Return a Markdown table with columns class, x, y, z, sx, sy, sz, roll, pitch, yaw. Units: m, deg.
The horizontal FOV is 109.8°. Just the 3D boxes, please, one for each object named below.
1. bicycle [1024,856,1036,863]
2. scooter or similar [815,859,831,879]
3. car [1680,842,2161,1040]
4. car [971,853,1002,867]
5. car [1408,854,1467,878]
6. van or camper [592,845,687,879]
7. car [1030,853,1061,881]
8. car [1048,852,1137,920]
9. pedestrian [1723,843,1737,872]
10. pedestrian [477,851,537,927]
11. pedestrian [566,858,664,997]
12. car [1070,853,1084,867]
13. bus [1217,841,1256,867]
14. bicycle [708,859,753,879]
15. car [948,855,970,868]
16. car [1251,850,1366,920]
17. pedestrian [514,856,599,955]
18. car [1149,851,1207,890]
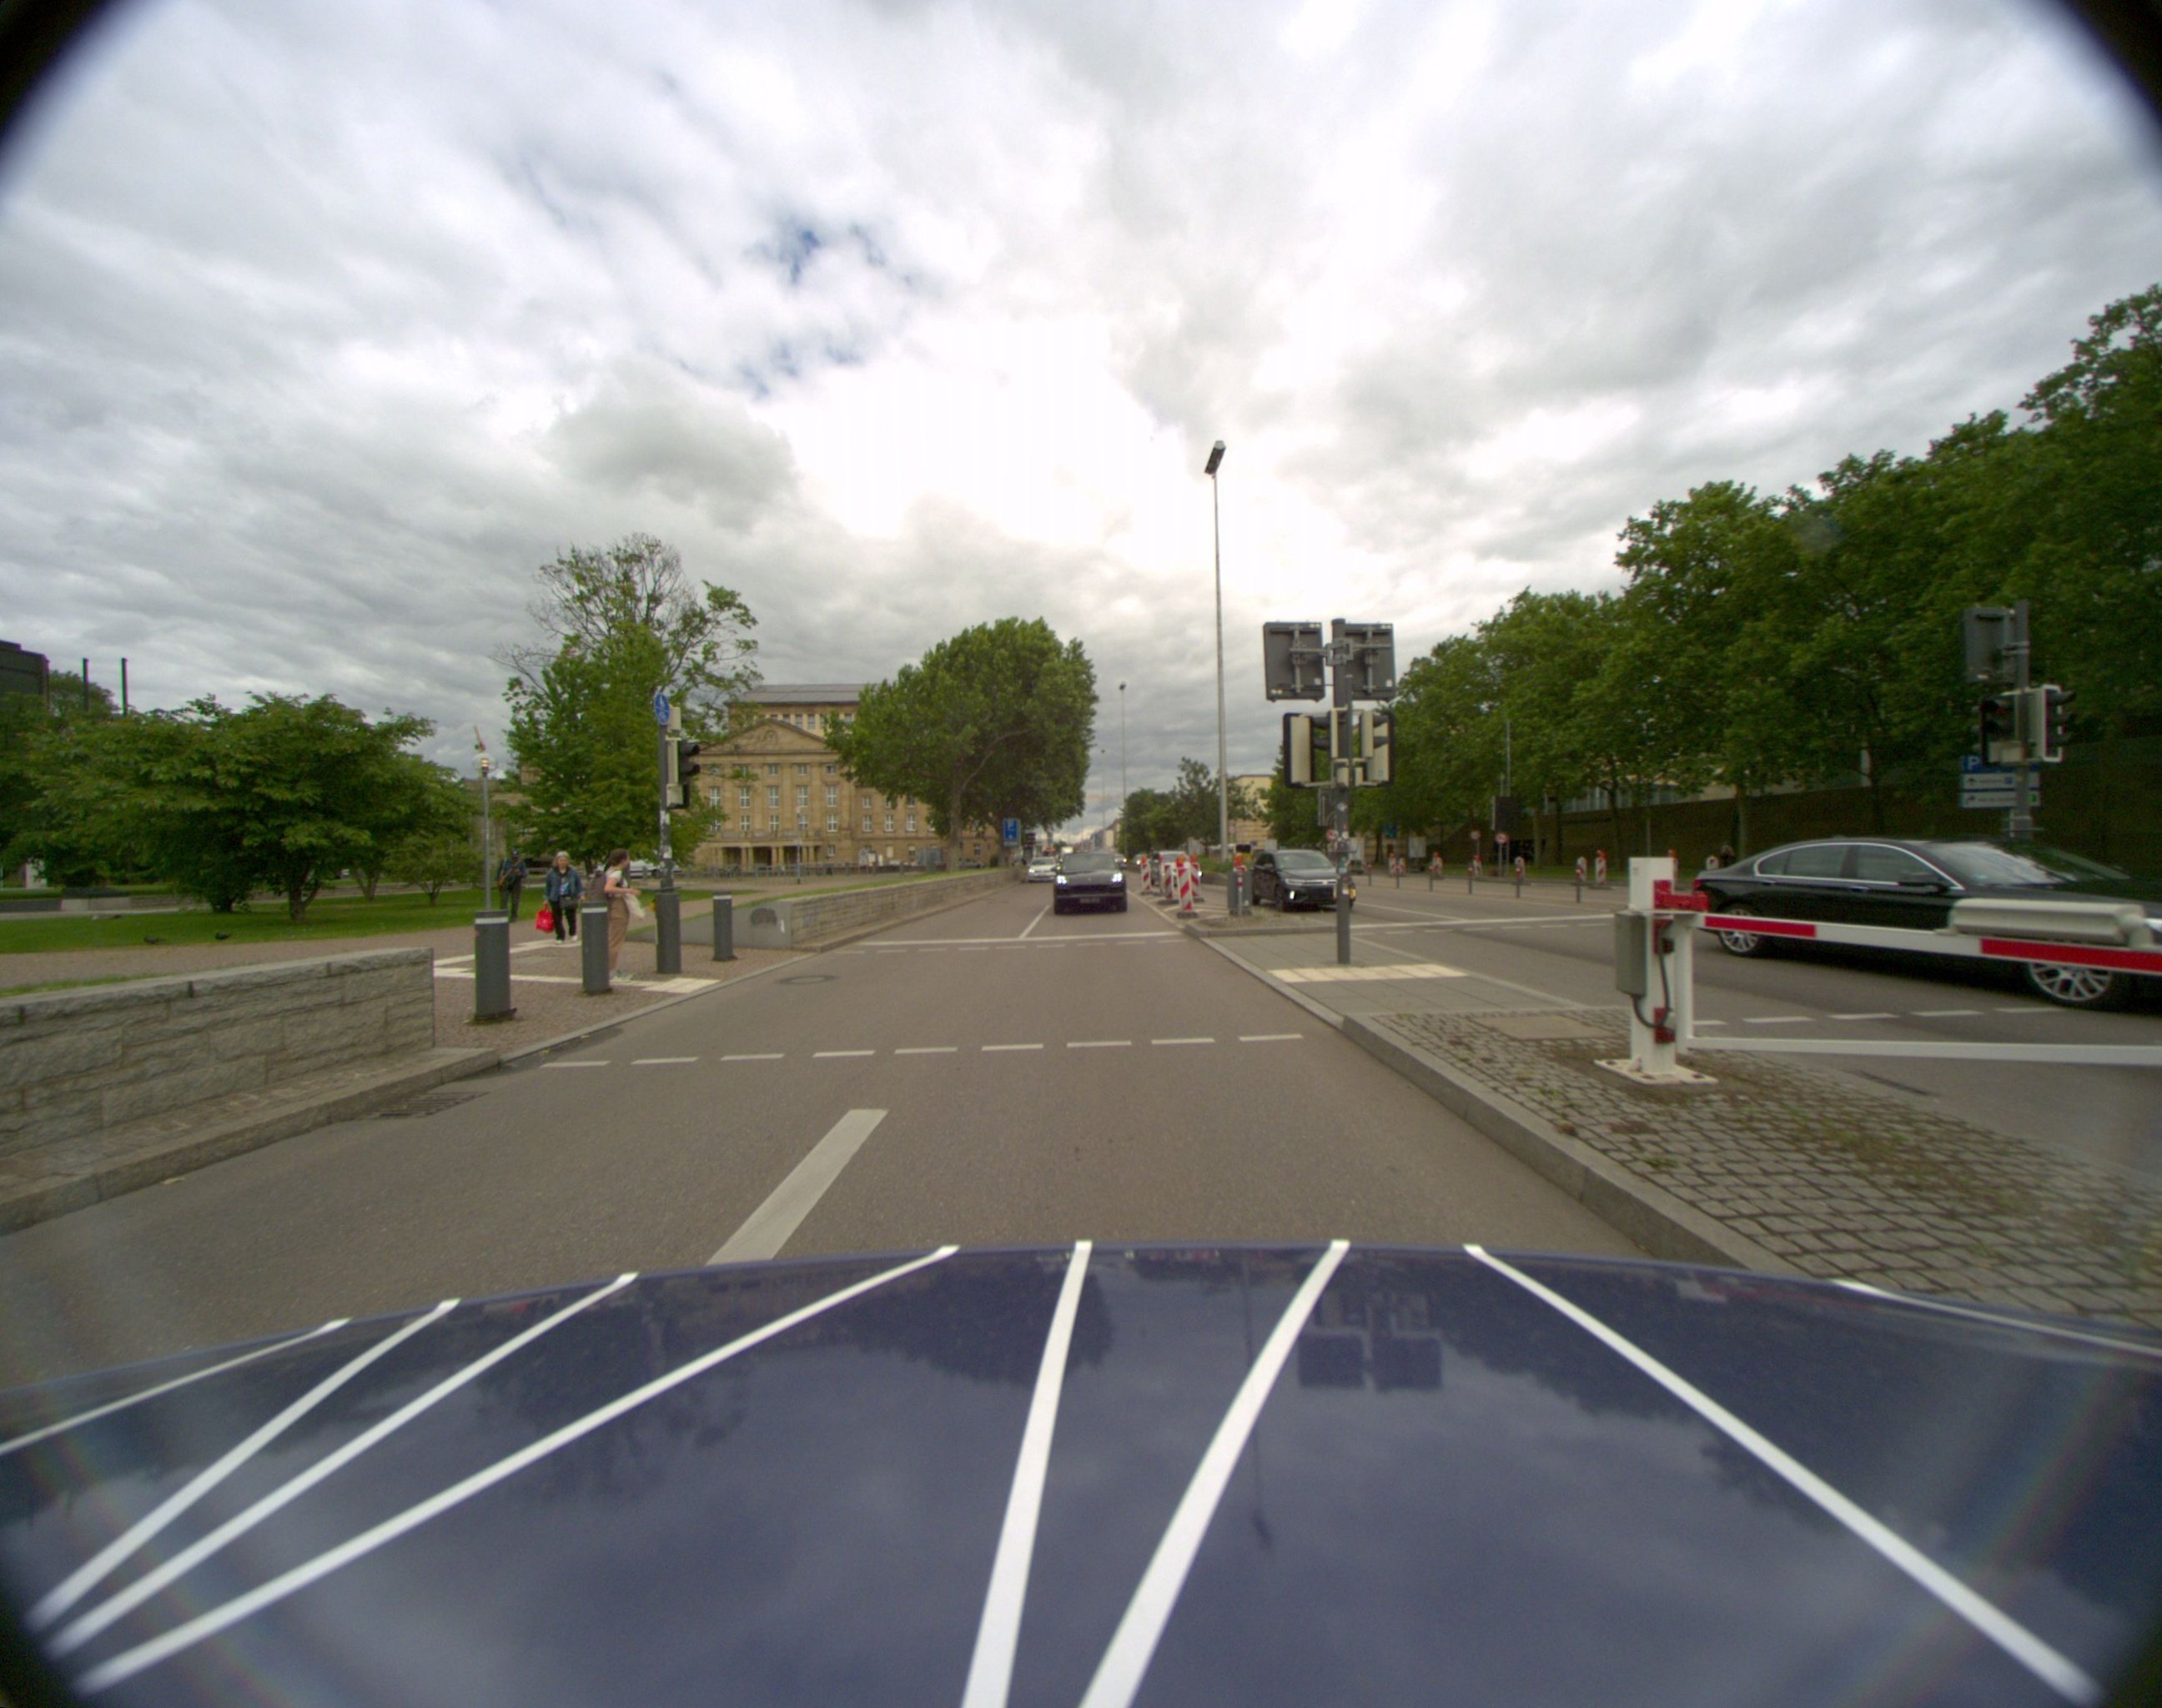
| class | x | y | z | sx | sy | sz | roll | pitch | yaw |
| --- | --- | --- | --- | --- | --- | --- | --- | --- | --- |
| bicycle | -8.172 | 0.913 | 122.426 | 1.919 | 1.092 | 0.541 | -1 | 1 | -9 |
| scooter or similar | -16.584 | 0.965 | 48.787 | 0.718 | 1.239 | 0.728 | 3 | 1 | -3 |
| car | 9.073 | 0.646 | 7.744 | 1.999 | 1.474 | 4.808 | -1 | 0 | -2 |
| car | -12.852 | 0.796 | 103.332 | 3.998 | 1.587 | 1.734 | -4 | 1 | -5 |
| car | 21.975 | 0.725 | 46.996 | 1.730 | 1.364 | 4.000 | -1 | 0 | 0 |
| van or camper | -33.736 | 0.588 | 58.185 | 5.712 | 2.307 | 2.319 | -2 | 2 | -1 |
| car | -2.225 | 0.810 | 48.528 | 1.696 | 1.585 | 3.999 | -3 | 1 | 1 |
| car | 0.207 | 0.844 | 21.962 | 2.062 | 1.616 | 4.599 | -4 | 0 | -4 |
| pedestrian | 35.768 | 0.197 | 41.863 | 0.355 | 1.598 | 0.443 | -4 | 2 | -7 |
| pedestrian | -12.512 | 0.757 | 16.574 | 0.803 | 1.617 | 0.626 | -1 | 0 | 7 |
| pedestrian | -5.886 | 0.900 | 9.635 | 0.699 | 1.646 | 0.683 | -3 | 1 | -1 |
| car | -0.542 | 0.765 | 101.595 | 1.733 | 1.587 | 3.999 | -3 | 1 | 1 |
| bus | 21.614 | -0.016 | 106.212 | 2.920 | 3.286 | 10.446 | -1 | 0 | -2 |
| bicycle | -19.954 | 0.847 | 43.285 | 2.197 | 1.135 | 0.685 | -1 | 0 | -1 |
| car | -14.535 | 0.926 | 90.699 | 1.768 | 1.508 | 4.218 | -1 | -1 | 1 |
| car | 5.789 | 0.720 | 19.826 | 1.767 | 1.507 | 4.152 | -2 | 1 | 1 |
| pedestrian | -8.777 | 0.837 | 12.738 | 0.683 | 1.553 | 0.909 | 3 | 1 | 16 |
| car | 4.487 | 0.697 | 35.800 | 1.999 | 1.607 | 4.737 | -2 | 1 | -1 |
